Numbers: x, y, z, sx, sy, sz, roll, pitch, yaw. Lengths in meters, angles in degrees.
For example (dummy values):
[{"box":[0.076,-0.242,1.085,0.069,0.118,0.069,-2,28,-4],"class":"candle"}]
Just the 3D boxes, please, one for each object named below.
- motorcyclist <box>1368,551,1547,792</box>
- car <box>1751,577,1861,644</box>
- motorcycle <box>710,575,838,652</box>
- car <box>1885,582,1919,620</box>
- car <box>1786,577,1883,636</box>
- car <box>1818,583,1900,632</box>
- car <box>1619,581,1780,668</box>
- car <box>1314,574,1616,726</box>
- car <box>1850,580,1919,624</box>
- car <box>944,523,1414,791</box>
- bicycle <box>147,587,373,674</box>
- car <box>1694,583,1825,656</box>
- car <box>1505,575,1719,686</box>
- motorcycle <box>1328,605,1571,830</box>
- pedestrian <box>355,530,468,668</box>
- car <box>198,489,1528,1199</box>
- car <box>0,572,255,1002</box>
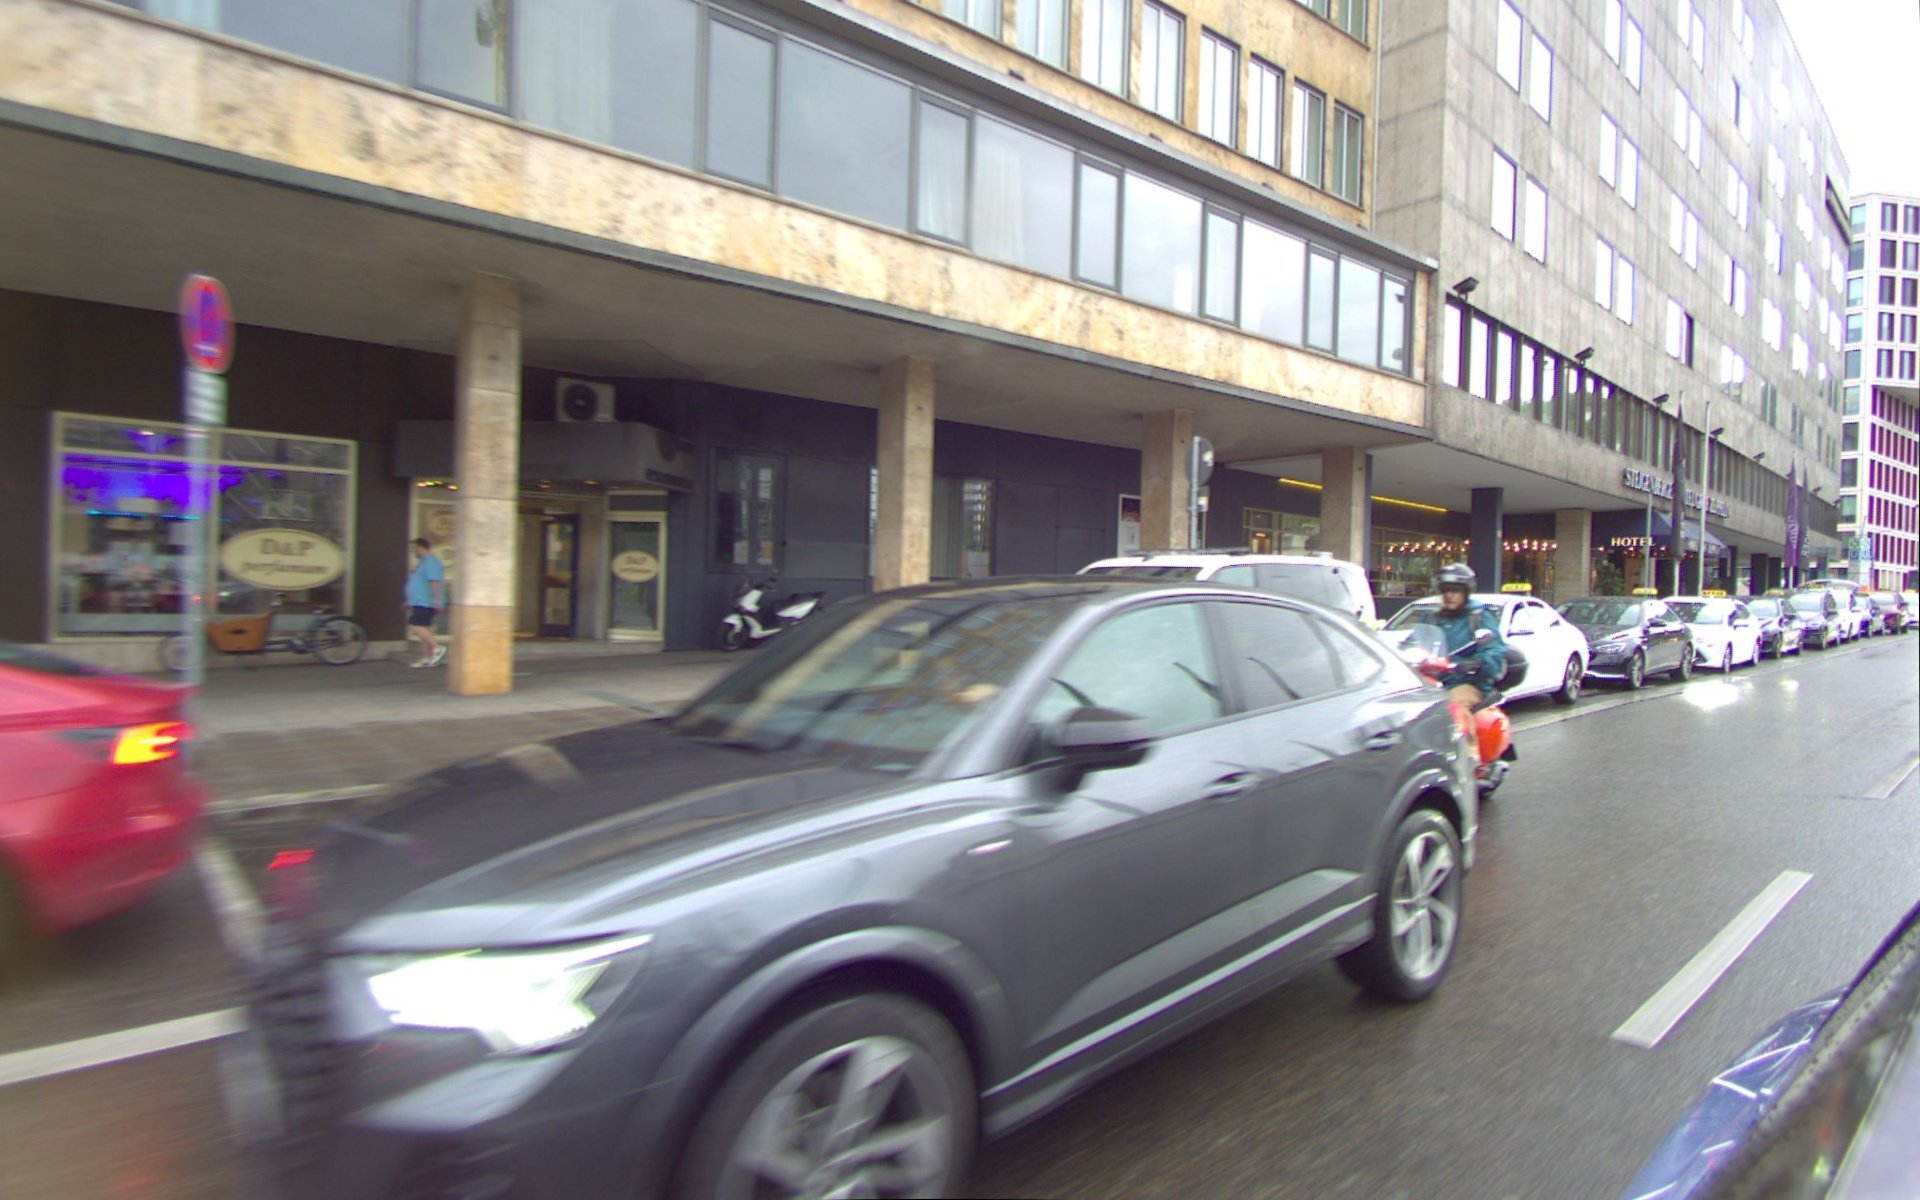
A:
[{"box":[3.485,0.454,7.097,0.829,1.547,0.860,-1,0,-41],"class":"motorcyclist"},{"box":[24.280,0.237,28.997,4.731,1.764,1.729,-1,1,-41],"class":"car"},{"box":[-3.110,0.207,17.039,2.064,1.233,0.569,-1,0,-33],"class":"motorcycle"},{"box":[43.551,0.026,46.076,3.932,1.634,1.729,-1,1,-41],"class":"car"},{"box":[28.059,0.158,32.434,4.731,1.764,1.729,-1,1,-41],"class":"car"},{"box":[32.063,0.228,36.077,3.932,1.634,1.729,-1,1,-41],"class":"car"},{"box":[15.514,0.417,21.126,4.731,1.612,1.729,-1,1,-41],"class":"car"},{"box":[6.838,0.507,13.415,4.925,1.658,1.877,-1,1,-41],"class":"car"},{"box":[36.022,0.048,39.280,3.932,1.634,1.729,-1,1,-41],"class":"car"},{"box":[2.300,0.372,9.649,4.850,1.944,1.877,-1,1,-41],"class":"car"},{"box":[-9.263,0.362,13.484,2.429,1.059,0.657,-1,0,-41],"class":"bicycle"},{"box":[19.766,0.407,24.944,4.731,1.612,1.729,-1,1,-41],"class":"car"},{"box":[11.302,0.415,17.393,4.731,1.658,1.877,-1,1,-41],"class":"car"},{"box":[3.480,0.721,7.116,1.931,1.323,0.848,-1,0,-41],"class":"motorcycle"},{"box":[-7.558,-0.023,13.978,0.791,1.812,1.129,-1,0,20],"class":"pedestrian"},{"box":[0.104,0.575,3.485,4.266,1.520,1.882,-1,1,-41],"class":"car"},{"box":[-5.083,0.675,3.262,4.448,1.505,1.877,-1,1,-41],"class":"car"}]
